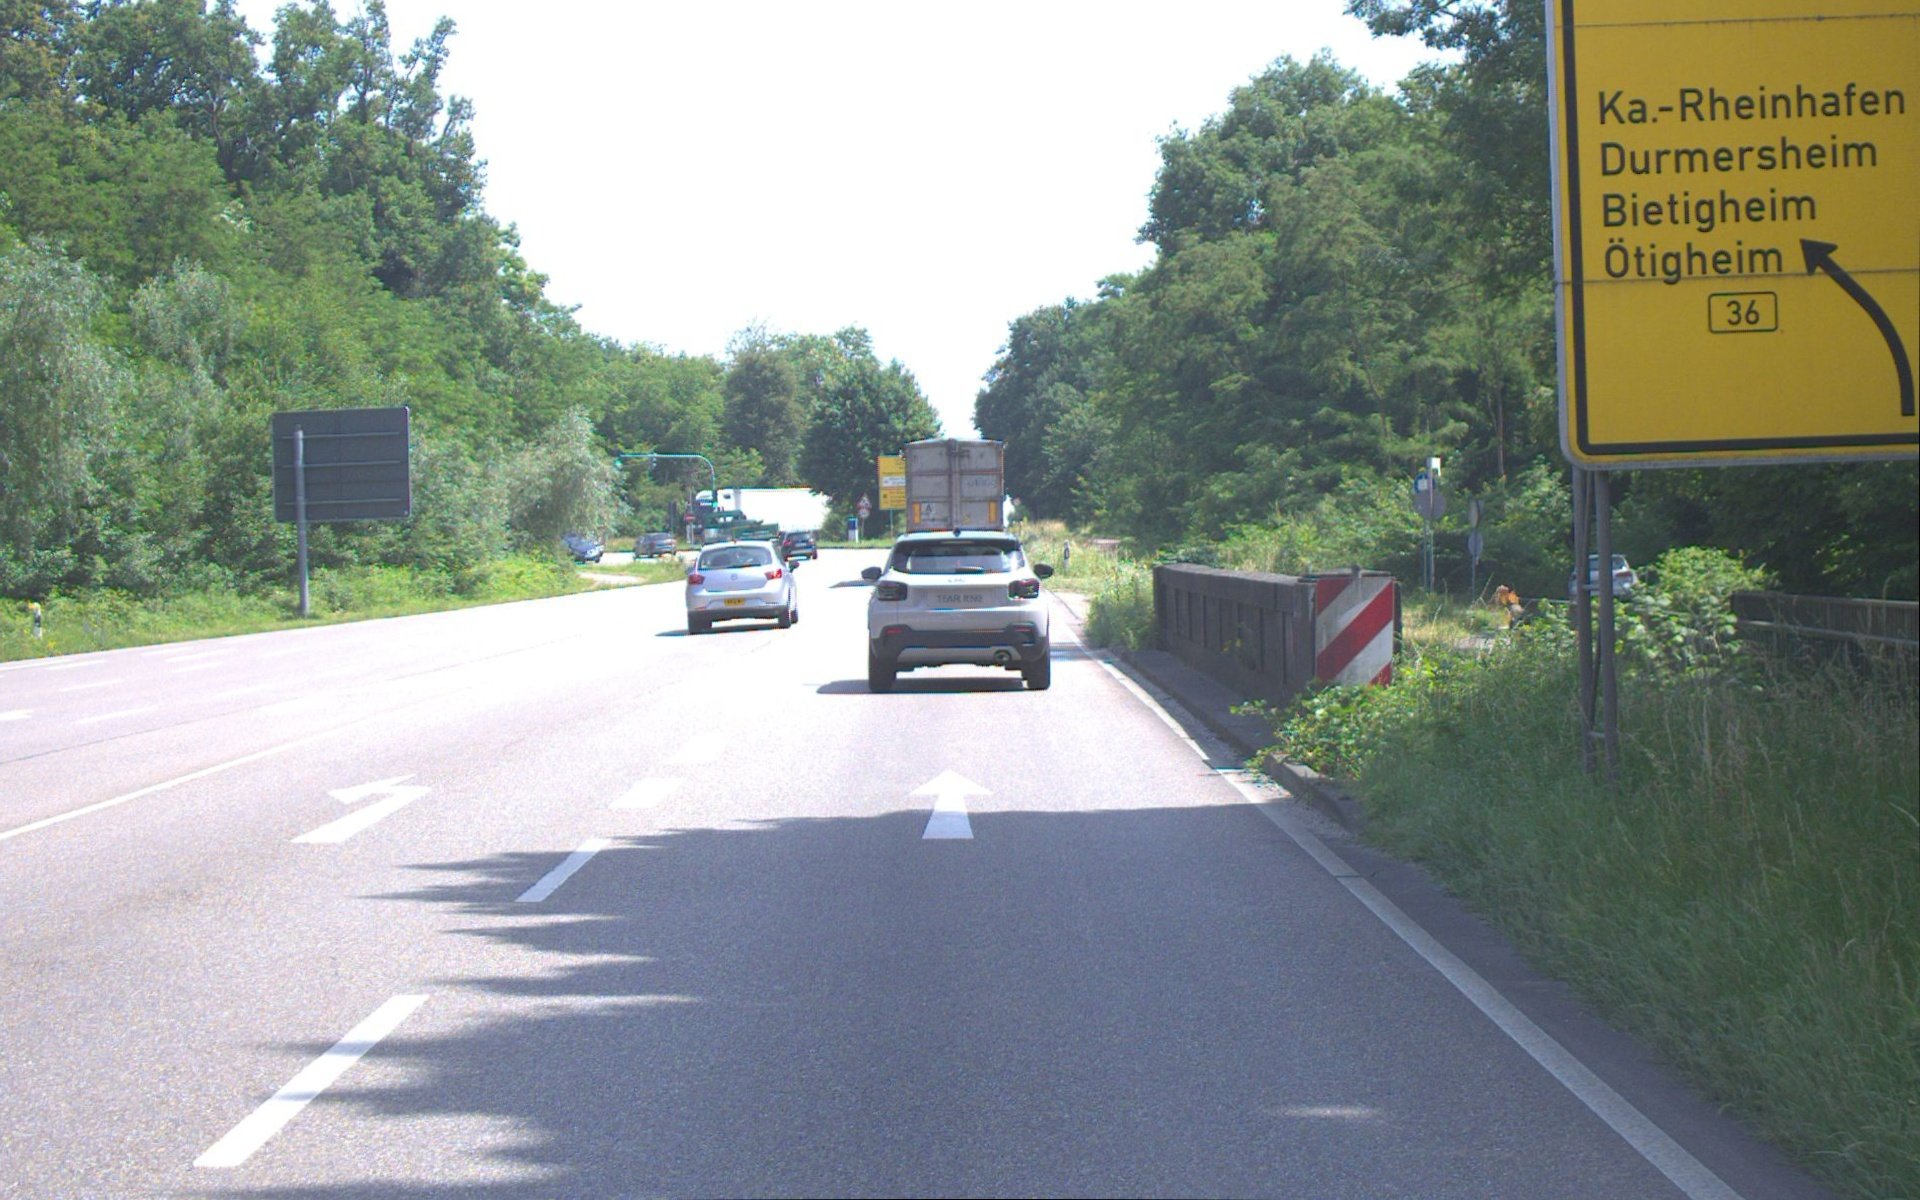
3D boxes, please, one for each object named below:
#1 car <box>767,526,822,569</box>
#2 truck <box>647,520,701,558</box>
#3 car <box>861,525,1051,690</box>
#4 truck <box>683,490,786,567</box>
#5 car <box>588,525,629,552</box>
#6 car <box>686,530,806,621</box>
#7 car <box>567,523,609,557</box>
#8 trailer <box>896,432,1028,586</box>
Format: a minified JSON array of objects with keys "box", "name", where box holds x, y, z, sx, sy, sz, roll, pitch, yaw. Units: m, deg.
[{"box":[-8.191,-2.560,169.963,1.993,2.007,4.555,-3,1,-11],"name":"car"},{"box":[-16.870,-3.594,202.637,2.134,2.189,4.658,-1,1,-19],"name":"truck"},{"box":[-0.005,0.032,34.482,1.767,1.529,4.000,-1,1,1],"name":"car"},{"box":[-12.301,-3.834,186.439,3.645,4.091,9.512,-1,1,-16],"name":"truck"},{"box":[-21.700,-3.783,212.087,1.993,1.579,4.001,-1,1,-14],"name":"car"},{"box":[-3.478,-0.423,56.360,1.666,1.425,3.828,0,1,1],"name":"car"},{"box":[-21.745,-3.512,200.880,1.993,1.875,4.001,-3,1,-11],"name":"car"},{"box":[0.066,-2.421,94.495,3.382,3.975,10.804,0,1,0],"name":"trailer"}]
